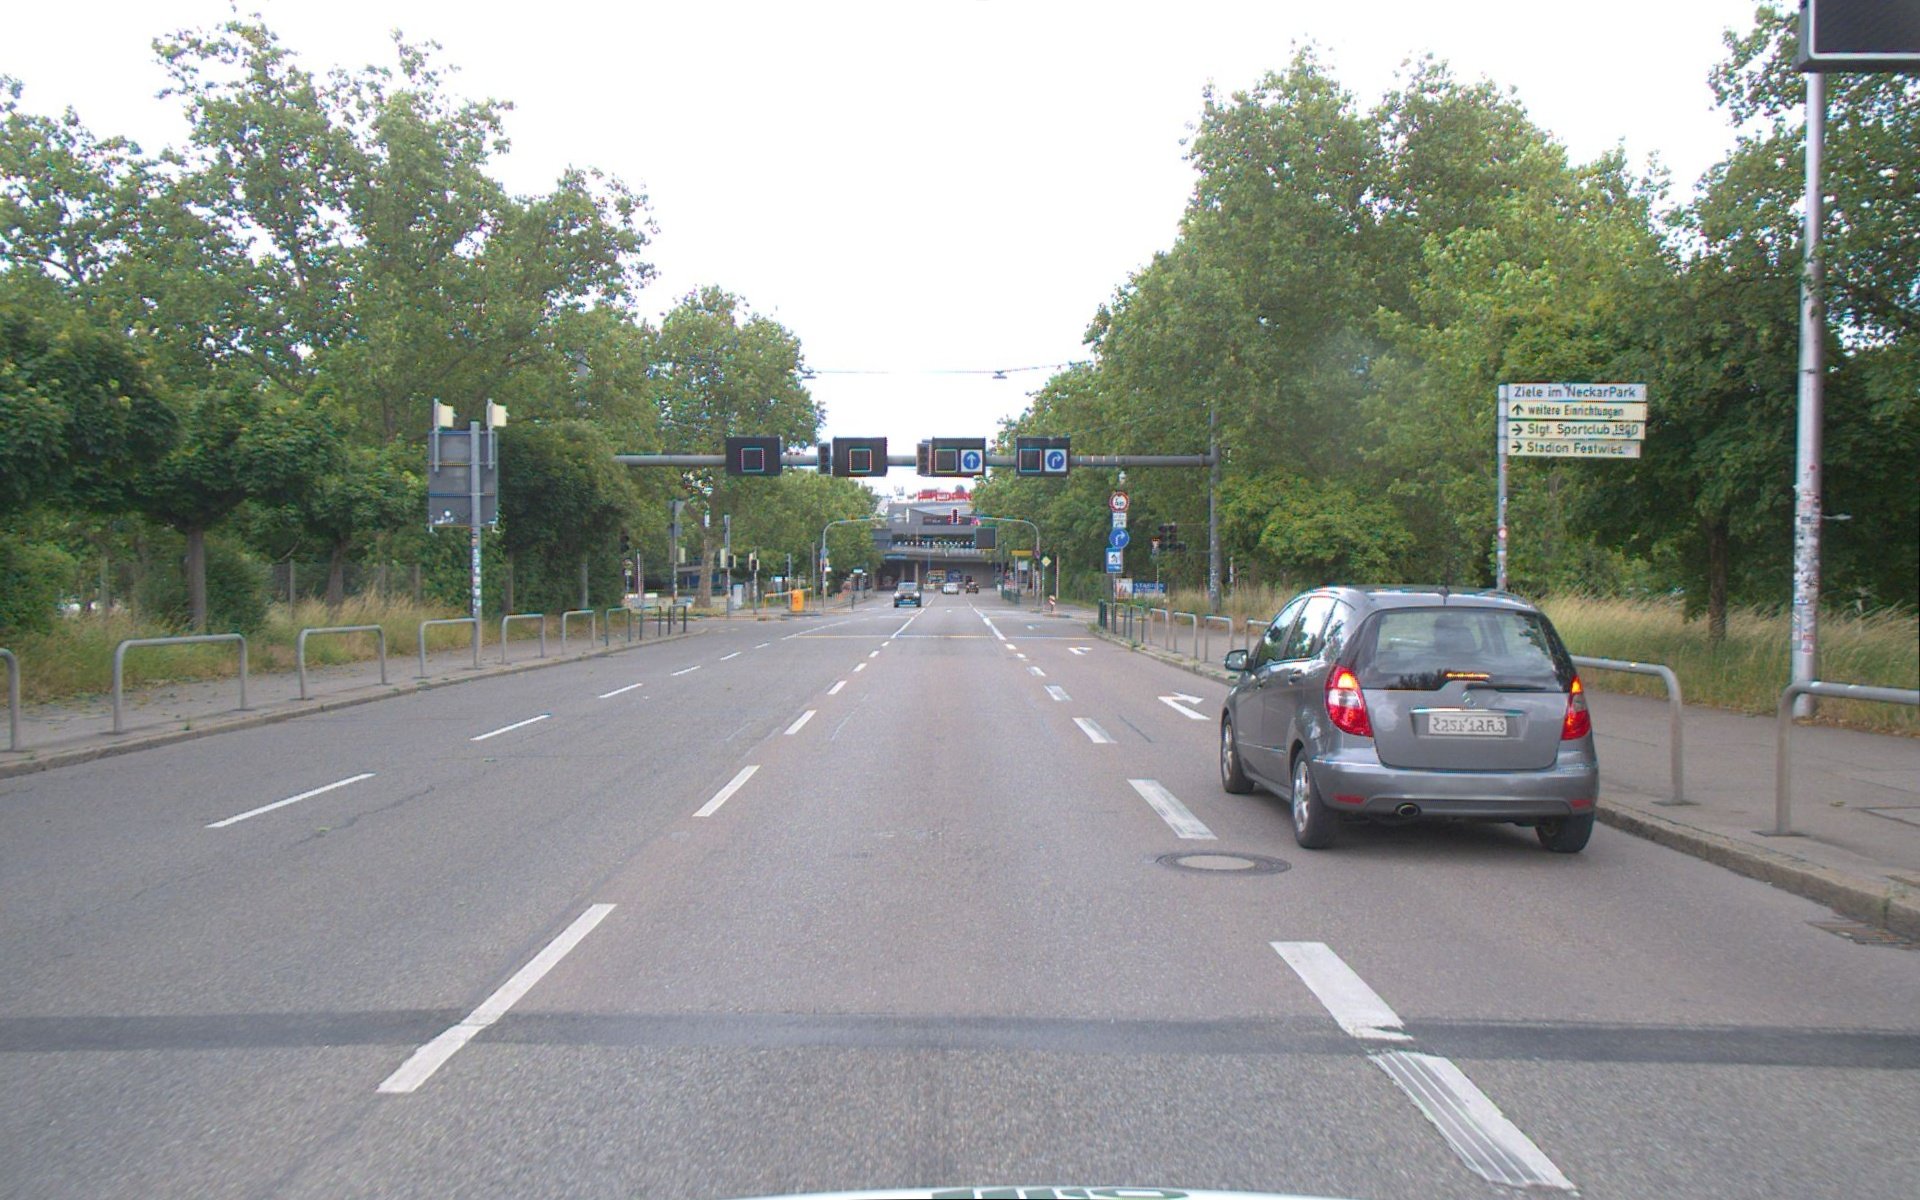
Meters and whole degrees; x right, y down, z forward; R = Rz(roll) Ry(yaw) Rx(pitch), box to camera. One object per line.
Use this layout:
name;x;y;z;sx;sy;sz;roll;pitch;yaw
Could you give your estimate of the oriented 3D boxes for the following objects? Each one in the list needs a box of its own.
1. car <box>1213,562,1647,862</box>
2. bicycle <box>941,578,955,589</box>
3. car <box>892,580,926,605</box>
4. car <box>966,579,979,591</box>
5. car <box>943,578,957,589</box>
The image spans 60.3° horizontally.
car;2.918;0.660;11.193;1.789;1.645;4.033;0;-1;0
bicycle;-1.712;-2.419;241.376;1.953;1.534;3.999;0;1;-1
car;-3.481;-0.520;113.920;1.952;1.689;4.519;-2;0;3
car;1.941;-2.327;256.092;1.966;1.728;4.070;0;0;1
car;-1.413;-2.341;232.187;1.742;1.486;3.822;2;0;1
